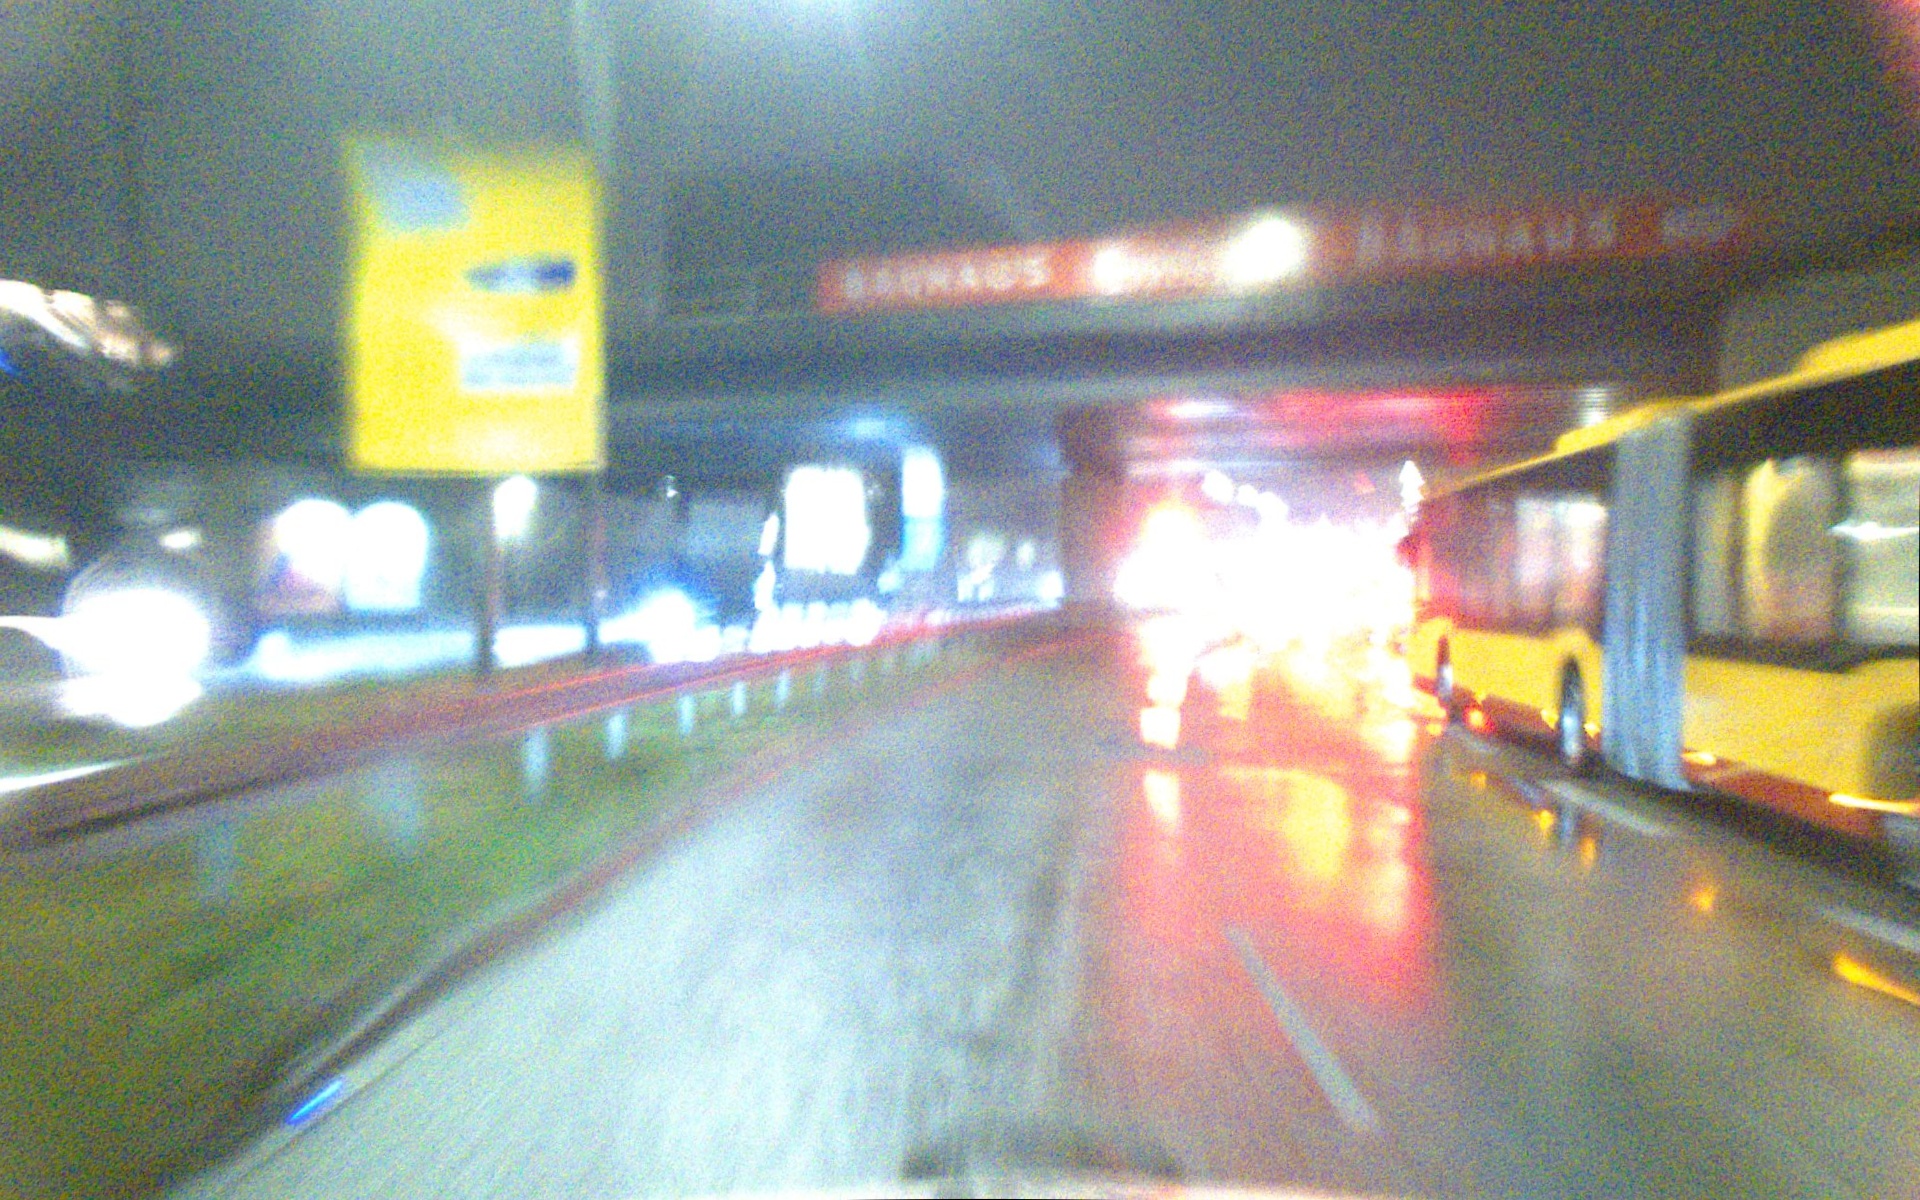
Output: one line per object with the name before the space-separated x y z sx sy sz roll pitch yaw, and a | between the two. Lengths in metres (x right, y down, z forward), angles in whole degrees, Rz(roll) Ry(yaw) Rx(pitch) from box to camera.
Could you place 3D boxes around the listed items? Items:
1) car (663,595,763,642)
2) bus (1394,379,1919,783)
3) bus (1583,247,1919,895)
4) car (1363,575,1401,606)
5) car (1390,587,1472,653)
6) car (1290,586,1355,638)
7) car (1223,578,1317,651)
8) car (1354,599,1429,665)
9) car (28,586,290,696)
car | -7.348 0.531 49.611 1.815 1.311 4.135 0 1 9
bus | 7.044 -0.171 17.996 2.979 3.268 9.056 1 0 5
bus | 6.372 -0.135 9.007 2.980 3.268 9.054 1 0 3
car | 23.328 -0.534 91.404 1.750 1.713 4.002 0 0 19
car | 11.489 0.442 40.192 1.739 1.527 4.002 0 0 19
car | 12.470 0.390 56.741 1.750 1.713 4.001 0 0 19
car | 7.727 0.312 40.979 1.750 1.713 4.002 0 0 19
car | 12.048 0.846 46.064 1.750 1.713 4.002 0 0 19
car | -11.418 0.536 23.880 1.533 1.452 3.955 0 0 6
